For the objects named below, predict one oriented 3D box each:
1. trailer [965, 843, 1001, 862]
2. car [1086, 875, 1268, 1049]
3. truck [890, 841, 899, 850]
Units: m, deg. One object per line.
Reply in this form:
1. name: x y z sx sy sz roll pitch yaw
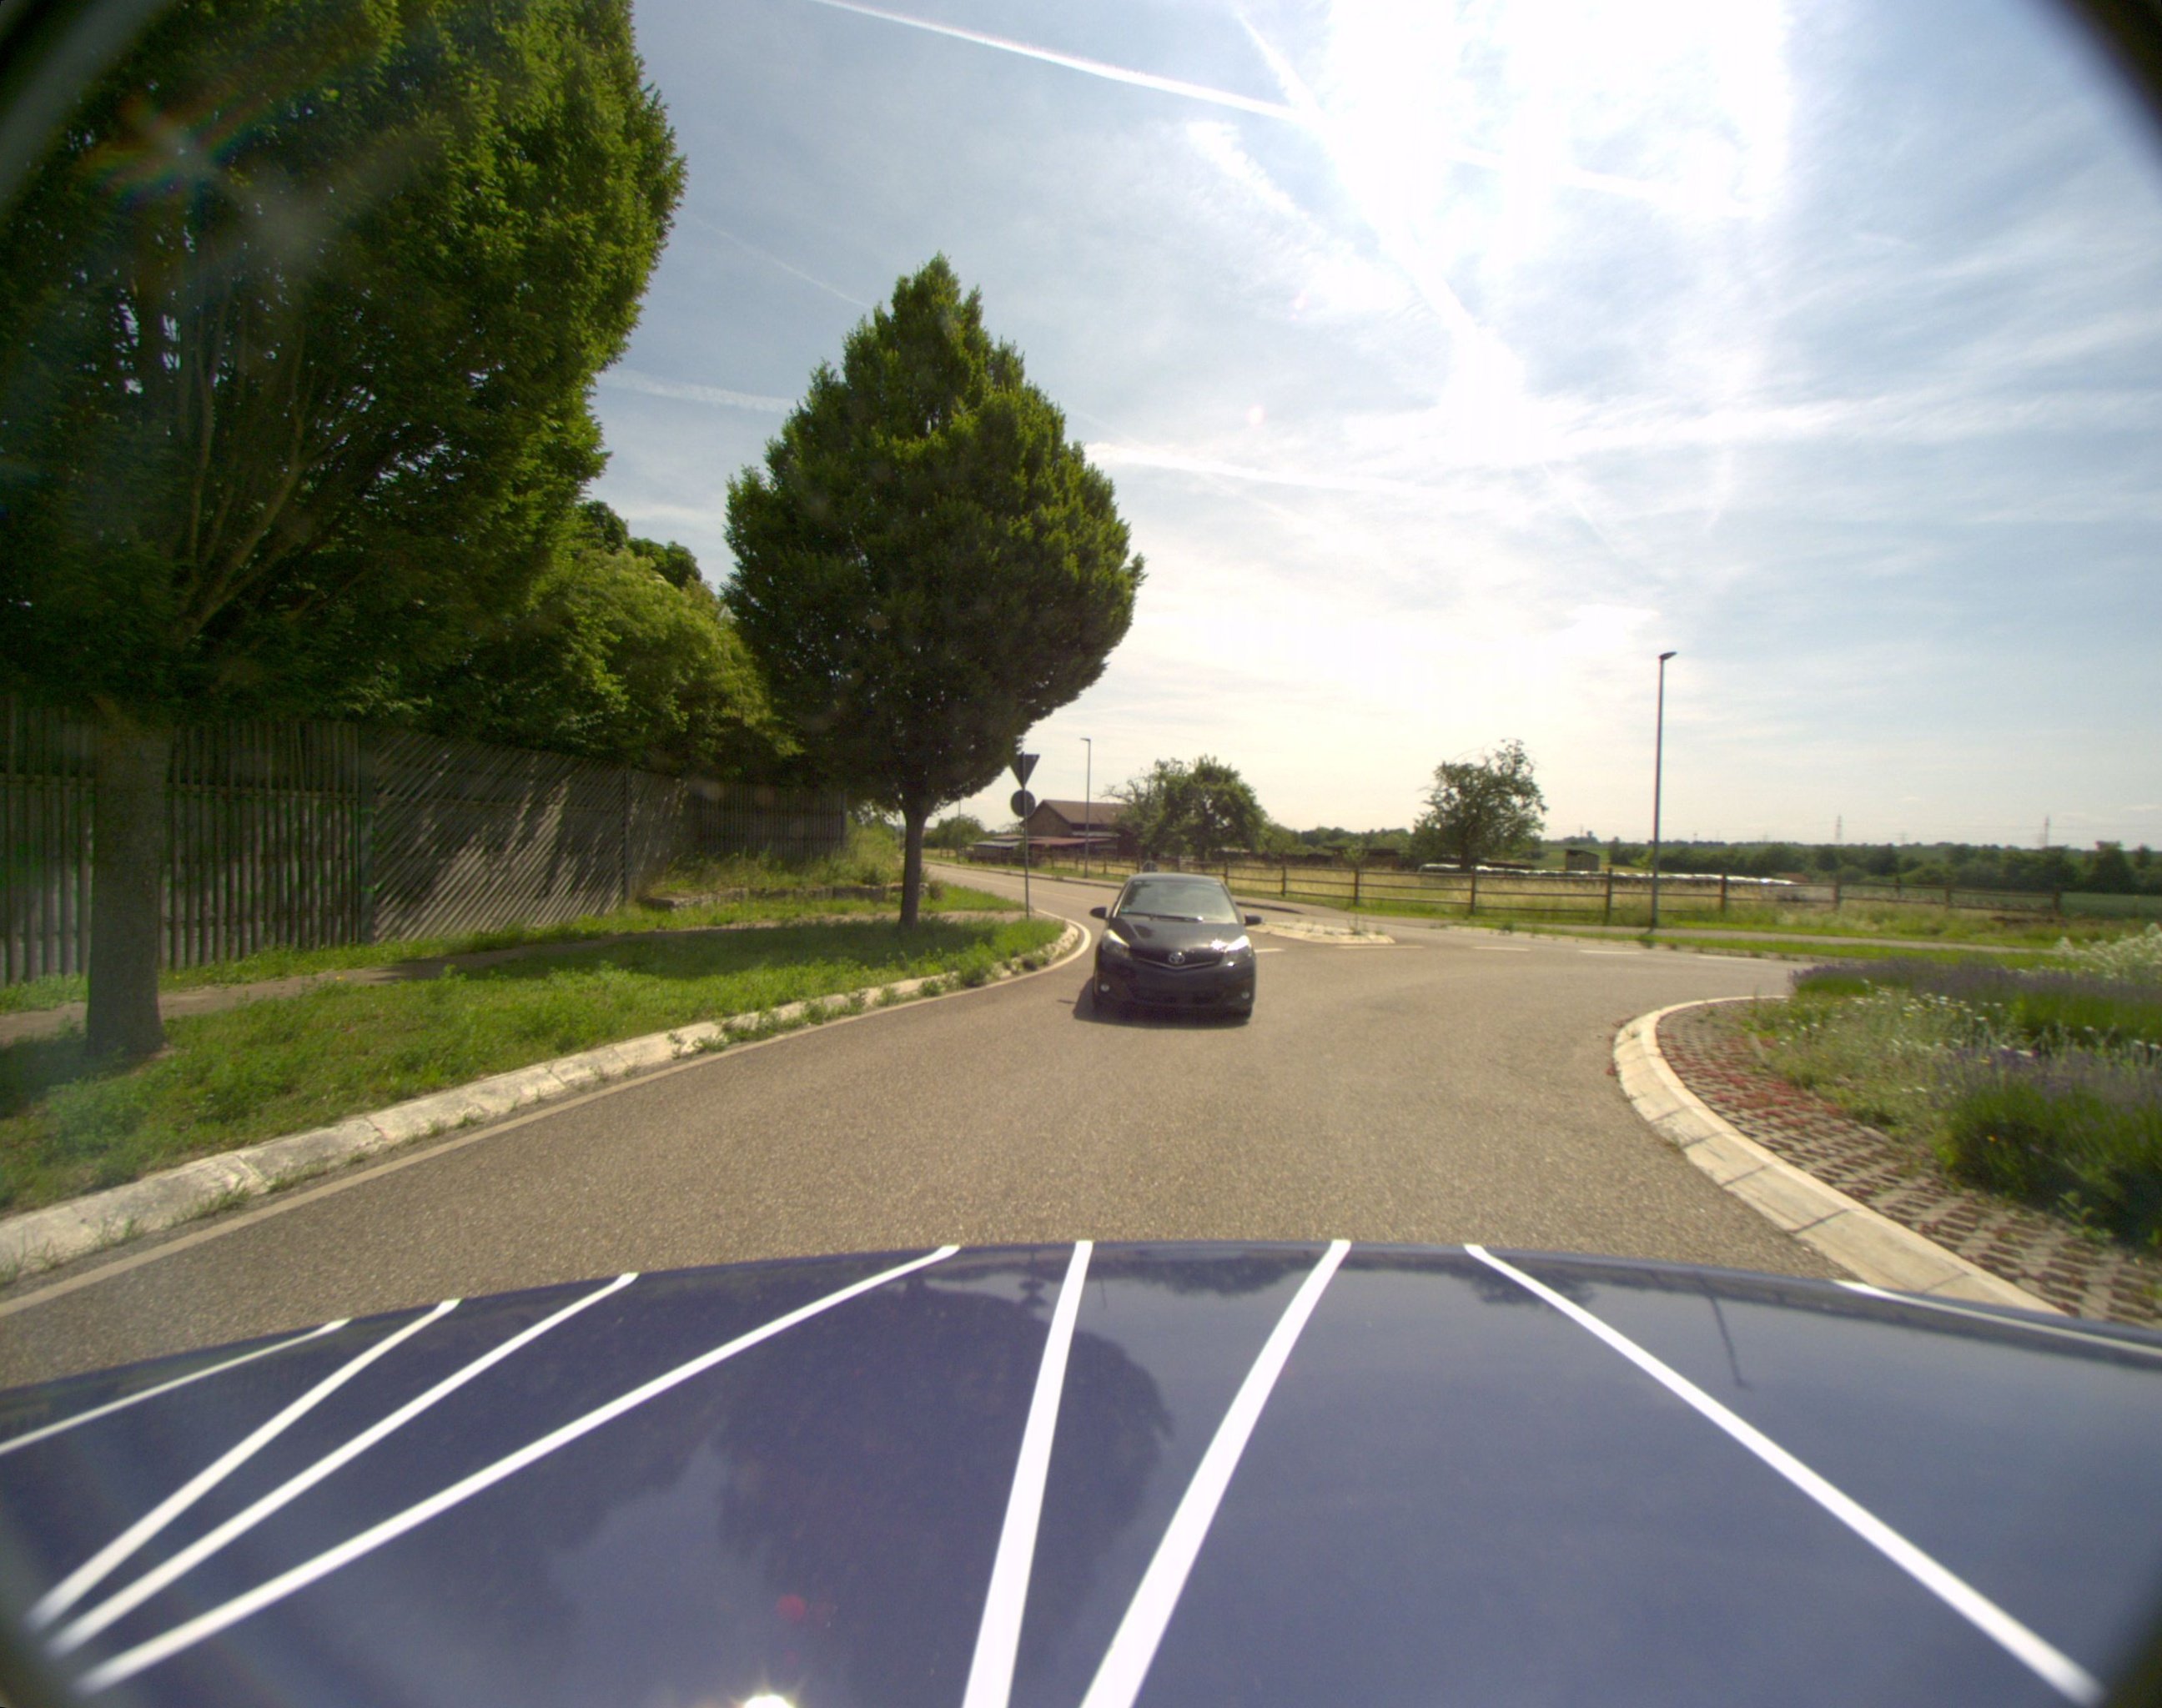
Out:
1. trailer: -9.480 -0.170 73.076 2.164 1.693 5.018 3 0 -22
2. car: 1.026 1.094 9.506 1.677 1.456 4.433 2 0 3
3. truck: -53.519 -2.430 218.215 2.231 2.280 6.481 2 1 -16
